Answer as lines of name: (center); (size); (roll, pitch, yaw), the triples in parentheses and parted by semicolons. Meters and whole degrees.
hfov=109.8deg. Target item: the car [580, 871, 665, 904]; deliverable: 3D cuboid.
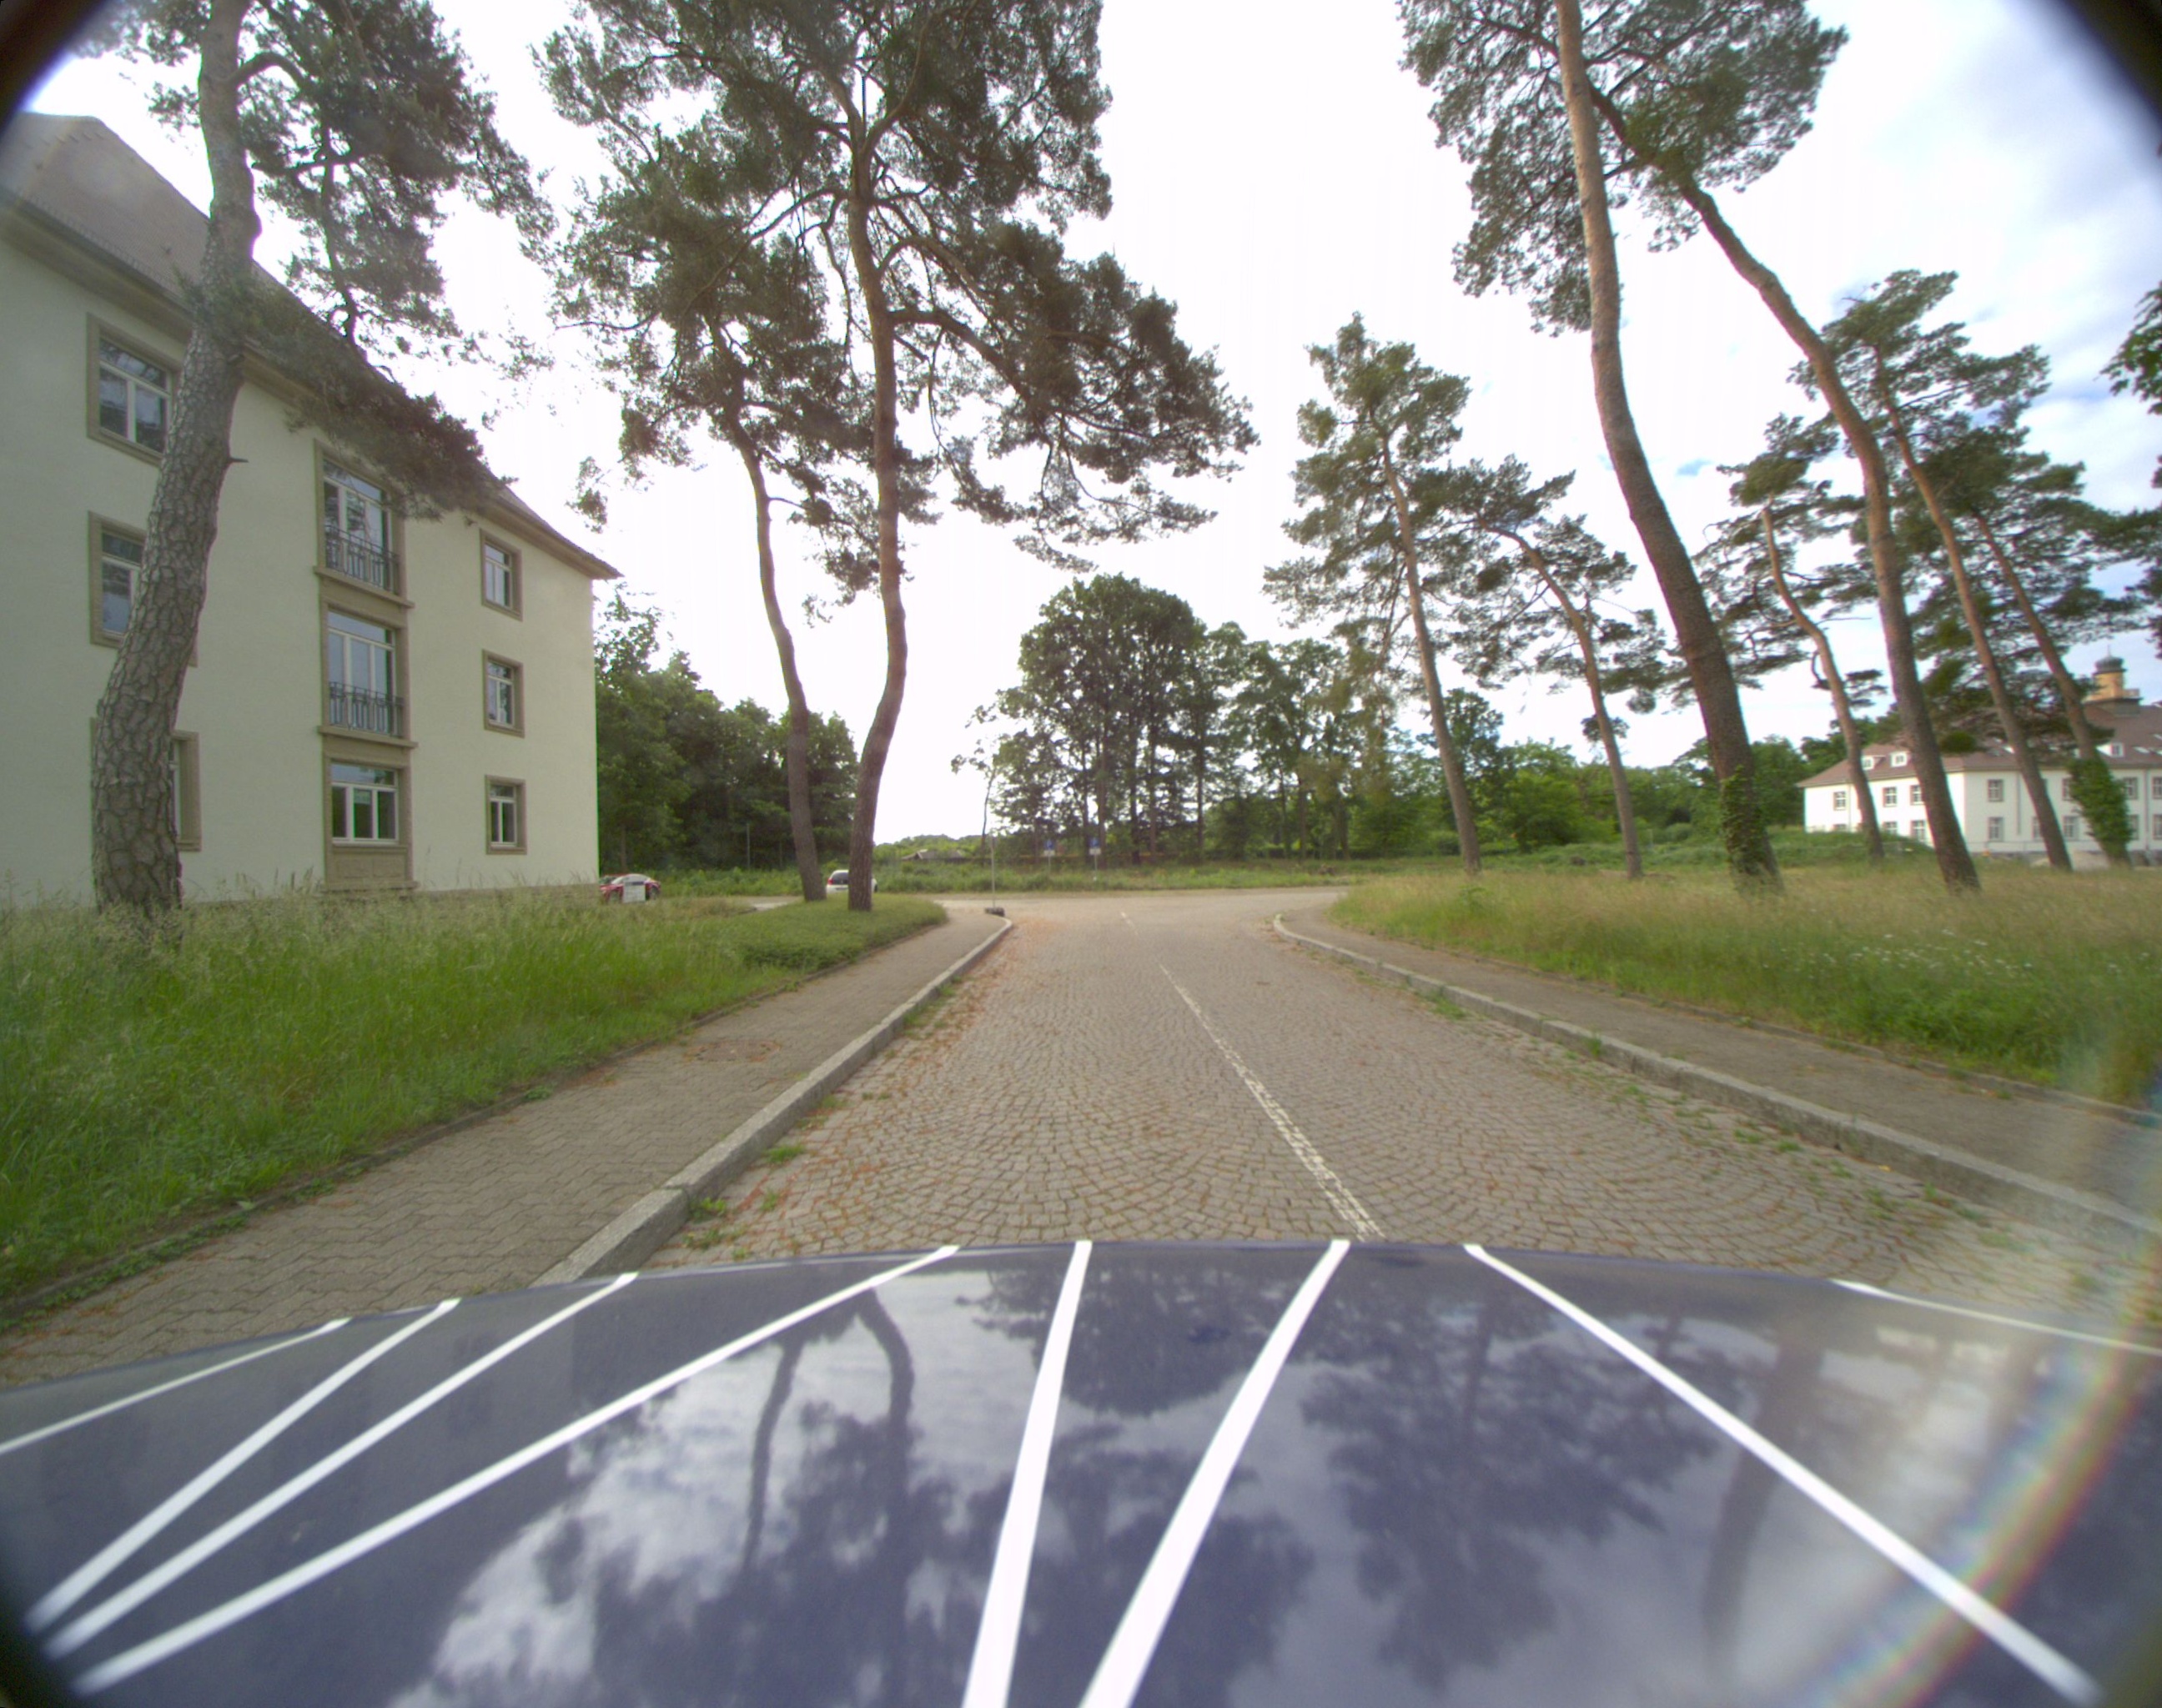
car: (-22.467, 1.600, 37.417); (1.641, 1.321, 3.999); (-1, 2, 0)

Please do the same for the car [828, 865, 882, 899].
car: (-11.162, 1.348, 37.693); (1.641, 1.426, 3.277); (-1, 2, 1)
